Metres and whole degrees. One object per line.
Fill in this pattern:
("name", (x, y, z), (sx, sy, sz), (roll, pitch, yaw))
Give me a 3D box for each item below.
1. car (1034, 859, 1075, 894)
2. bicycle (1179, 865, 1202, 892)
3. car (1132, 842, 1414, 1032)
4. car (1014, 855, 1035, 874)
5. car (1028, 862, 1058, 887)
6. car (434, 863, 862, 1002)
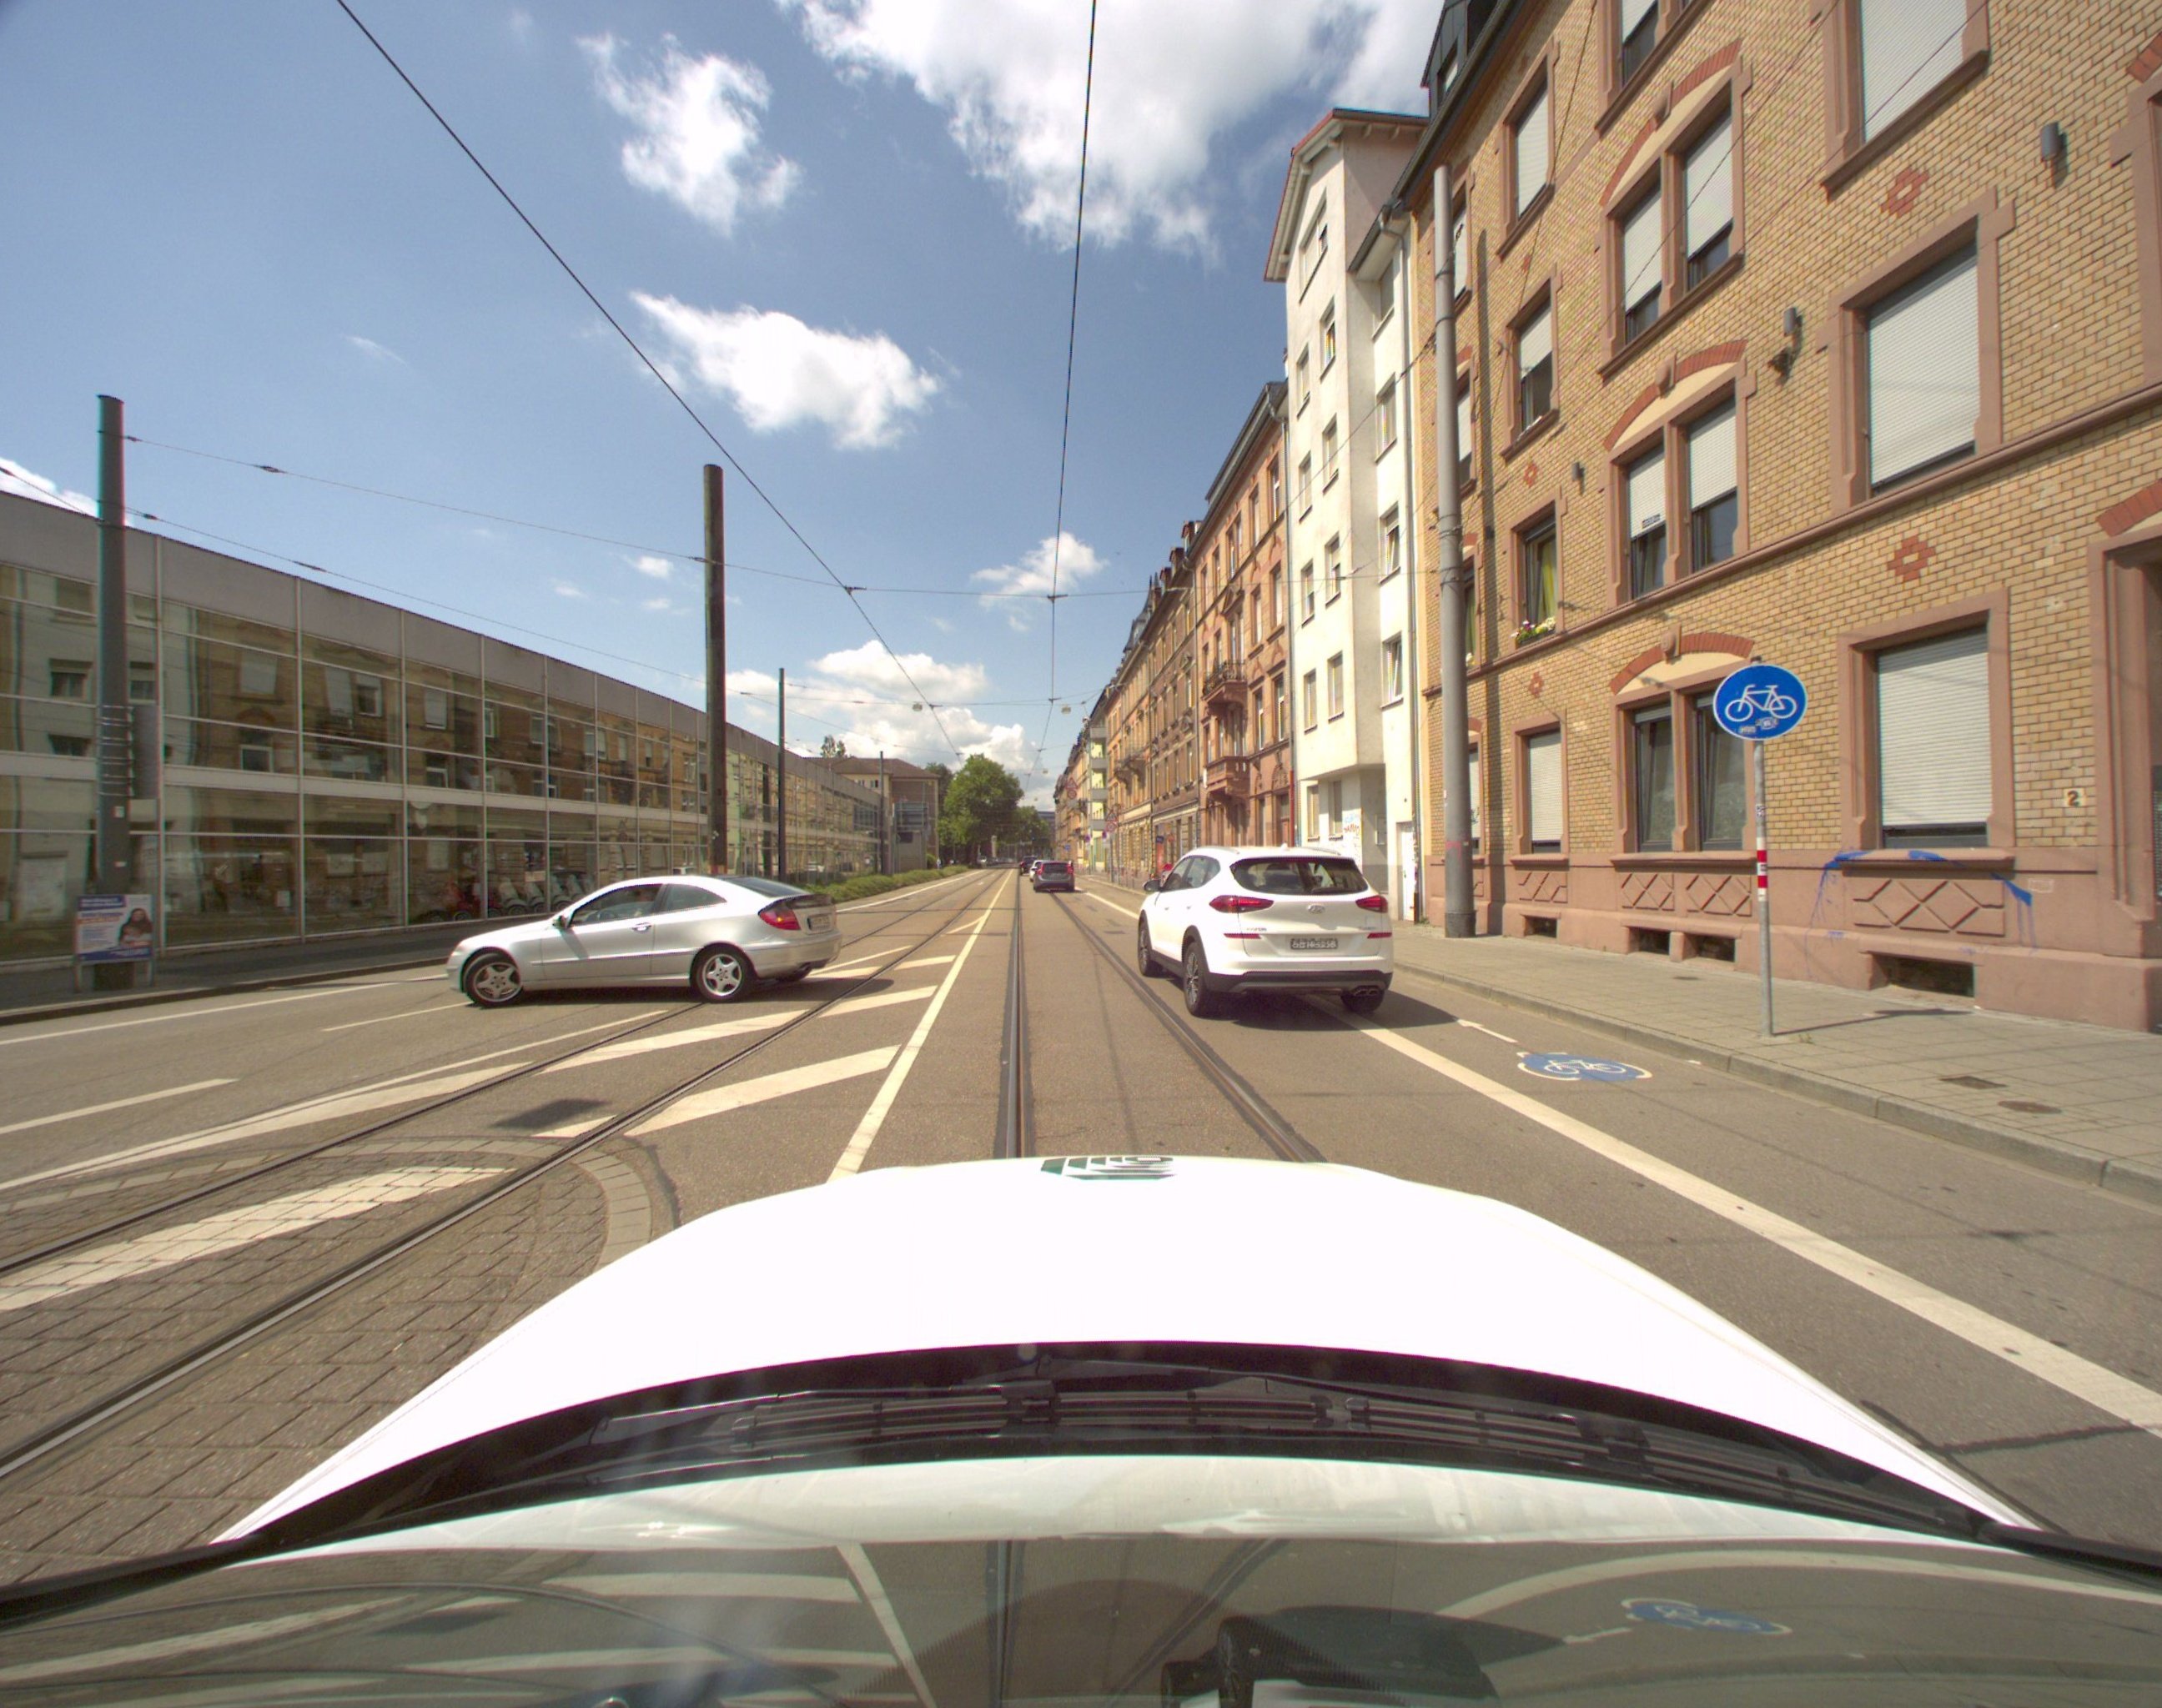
("car", (-1.208, 1.016, 38.187), (1.809, 1.524, 4.082), (0, 0, -2))
("bicycle", (4.921, 1.086, 36.631), (0.585, 1.178, 2.202), (-1, 0, -3))
("car", (1.824, 0.723, 9.200), (1.850, 1.634, 4.172), (0, 0, -6))
("car", (-5.155, 0.965, 74.127), (1.811, 1.662, 4.078), (0, 0, -5))
("car", (-2.577, 1.328, 54.091), (1.811, 1.524, 3.949), (-2, -1, -5))
("car", (-4.968, 0.876, 9.646), (4.150, 1.420, 1.824), (-1, 0, 8))
